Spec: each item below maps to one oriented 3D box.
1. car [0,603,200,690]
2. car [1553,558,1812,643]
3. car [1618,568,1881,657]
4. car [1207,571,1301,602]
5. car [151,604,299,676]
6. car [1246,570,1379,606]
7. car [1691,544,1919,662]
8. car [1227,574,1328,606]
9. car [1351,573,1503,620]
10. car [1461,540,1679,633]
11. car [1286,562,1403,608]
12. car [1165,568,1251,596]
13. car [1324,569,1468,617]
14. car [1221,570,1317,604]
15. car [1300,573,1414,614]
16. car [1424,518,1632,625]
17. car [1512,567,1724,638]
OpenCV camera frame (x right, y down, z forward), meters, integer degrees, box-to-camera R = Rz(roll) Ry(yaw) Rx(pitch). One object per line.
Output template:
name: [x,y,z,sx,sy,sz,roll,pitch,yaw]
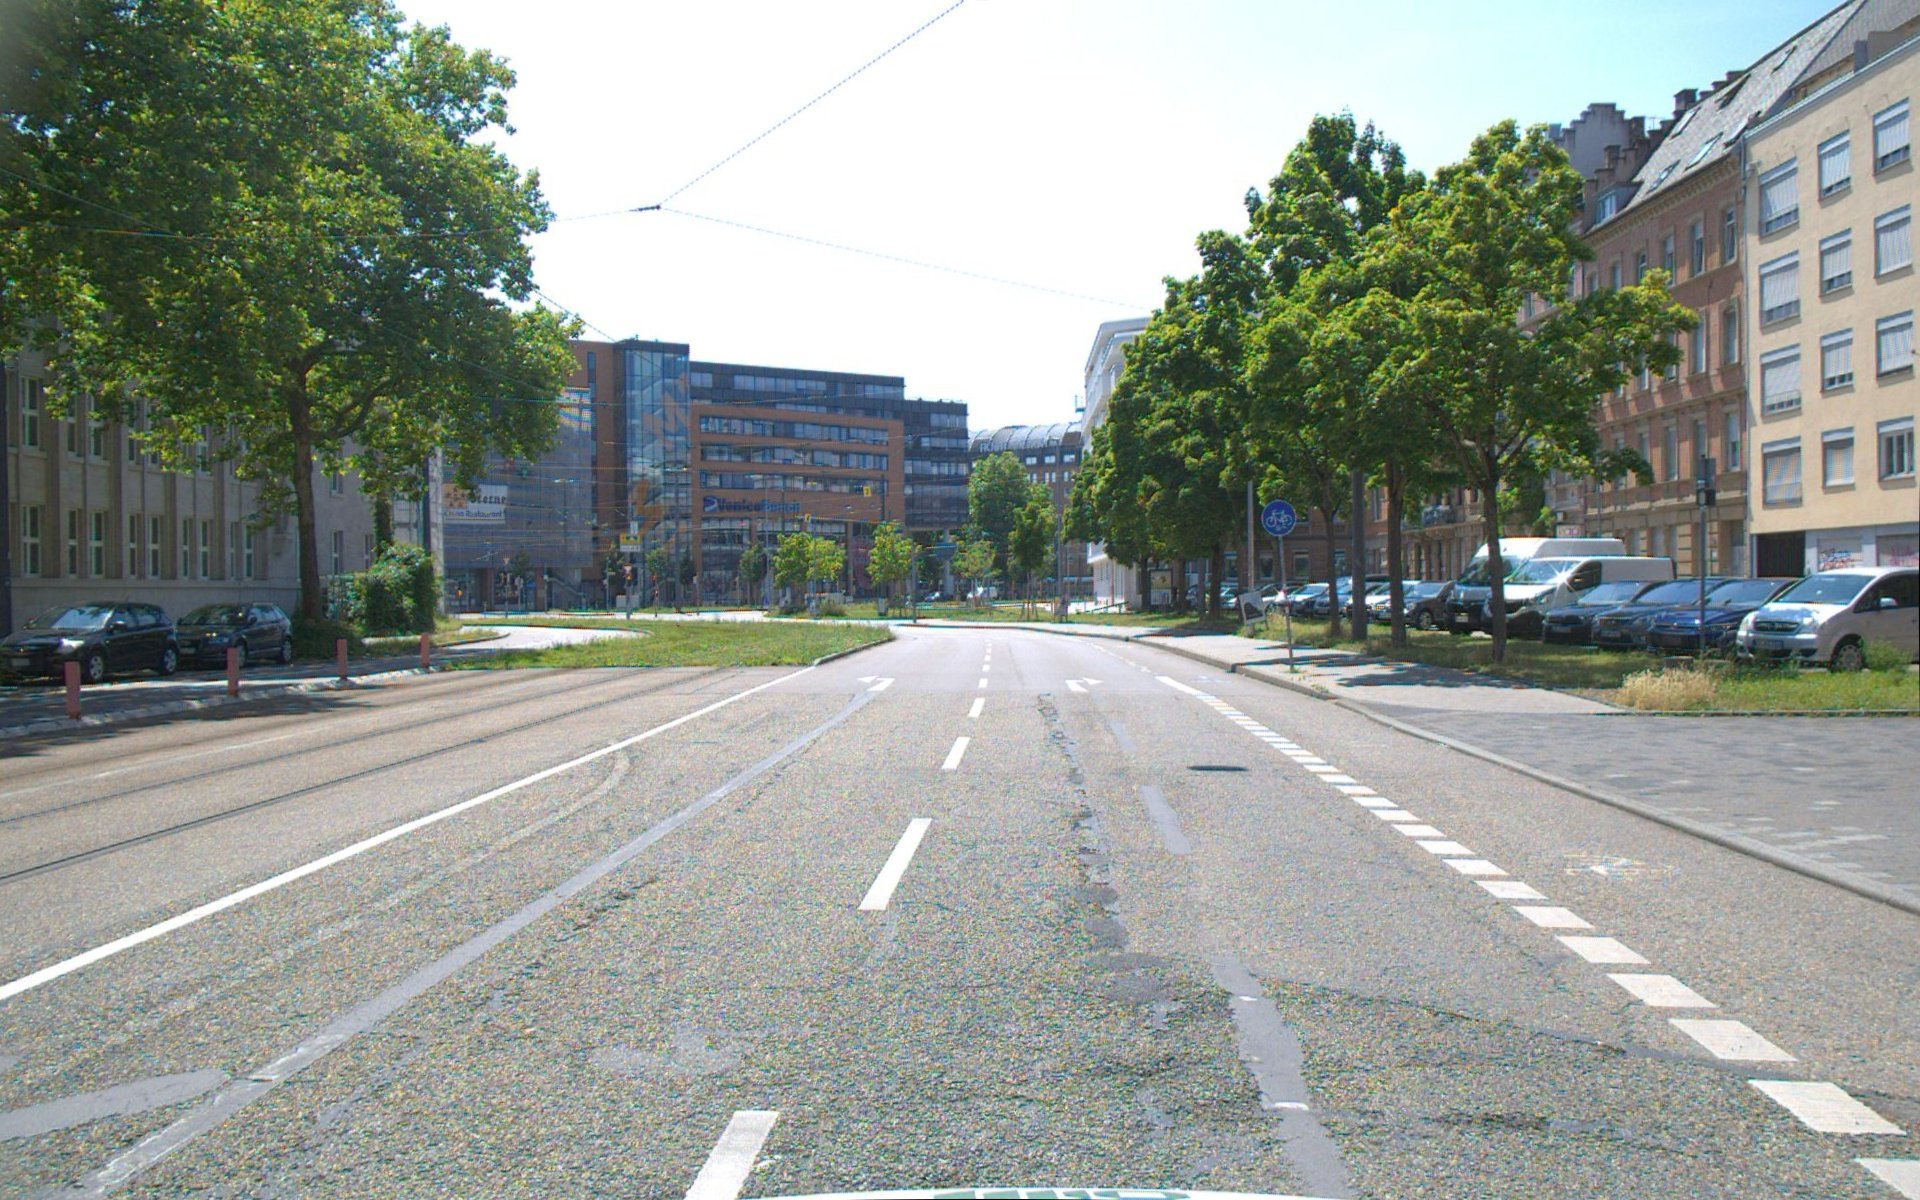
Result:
car: [-16.505,0.837,31.730,1.726,1.509,4.324,0,1,2]
car: [13.733,-0.002,31.433,4.555,1.523,1.952,0,1,-23]
car: [13.316,0.193,27.938,3.928,1.424,1.813,0,0,-20]
car: [13.795,-0.624,77.578,4.279,1.400,1.570,0,0,-25]
car: [-16.410,0.852,37.149,1.556,1.448,4.321,0,1,-2]
car: [13.690,-0.469,64.336,4.703,1.336,2.137,0,1,-21]
car: [13.478,0.027,24.997,4.335,1.660,1.988,0,0,-21]
car: [13.812,-0.436,71.983,3.929,1.336,1.960,0,1,-21]
car: [13.885,-0.117,49.131,4.373,1.362,1.951,0,1,-31]
car: [13.981,-0.306,37.872,4.777,2.007,2.058,0,0,-28]
car: [14.449,-0.573,62.167,3.936,1.691,1.957,0,0,-25]
car: [14.420,-1.037,96.052,4.799,1.629,1.821,0,0,-26]
car: [13.884,-0.229,52.599,4.640,1.452,1.948,0,1,-36]
car: [14.002,-0.592,74.864,4.029,1.495,1.783,0,1,-27]
car: [14.200,-0.249,59.065,3.947,1.424,1.694,0,1,-31]
car: [14.225,-0.682,41.297,5.489,2.503,2.210,0,1,-36]
car: [13.668,0.044,34.377,3.928,1.411,1.813,0,0,-20]
